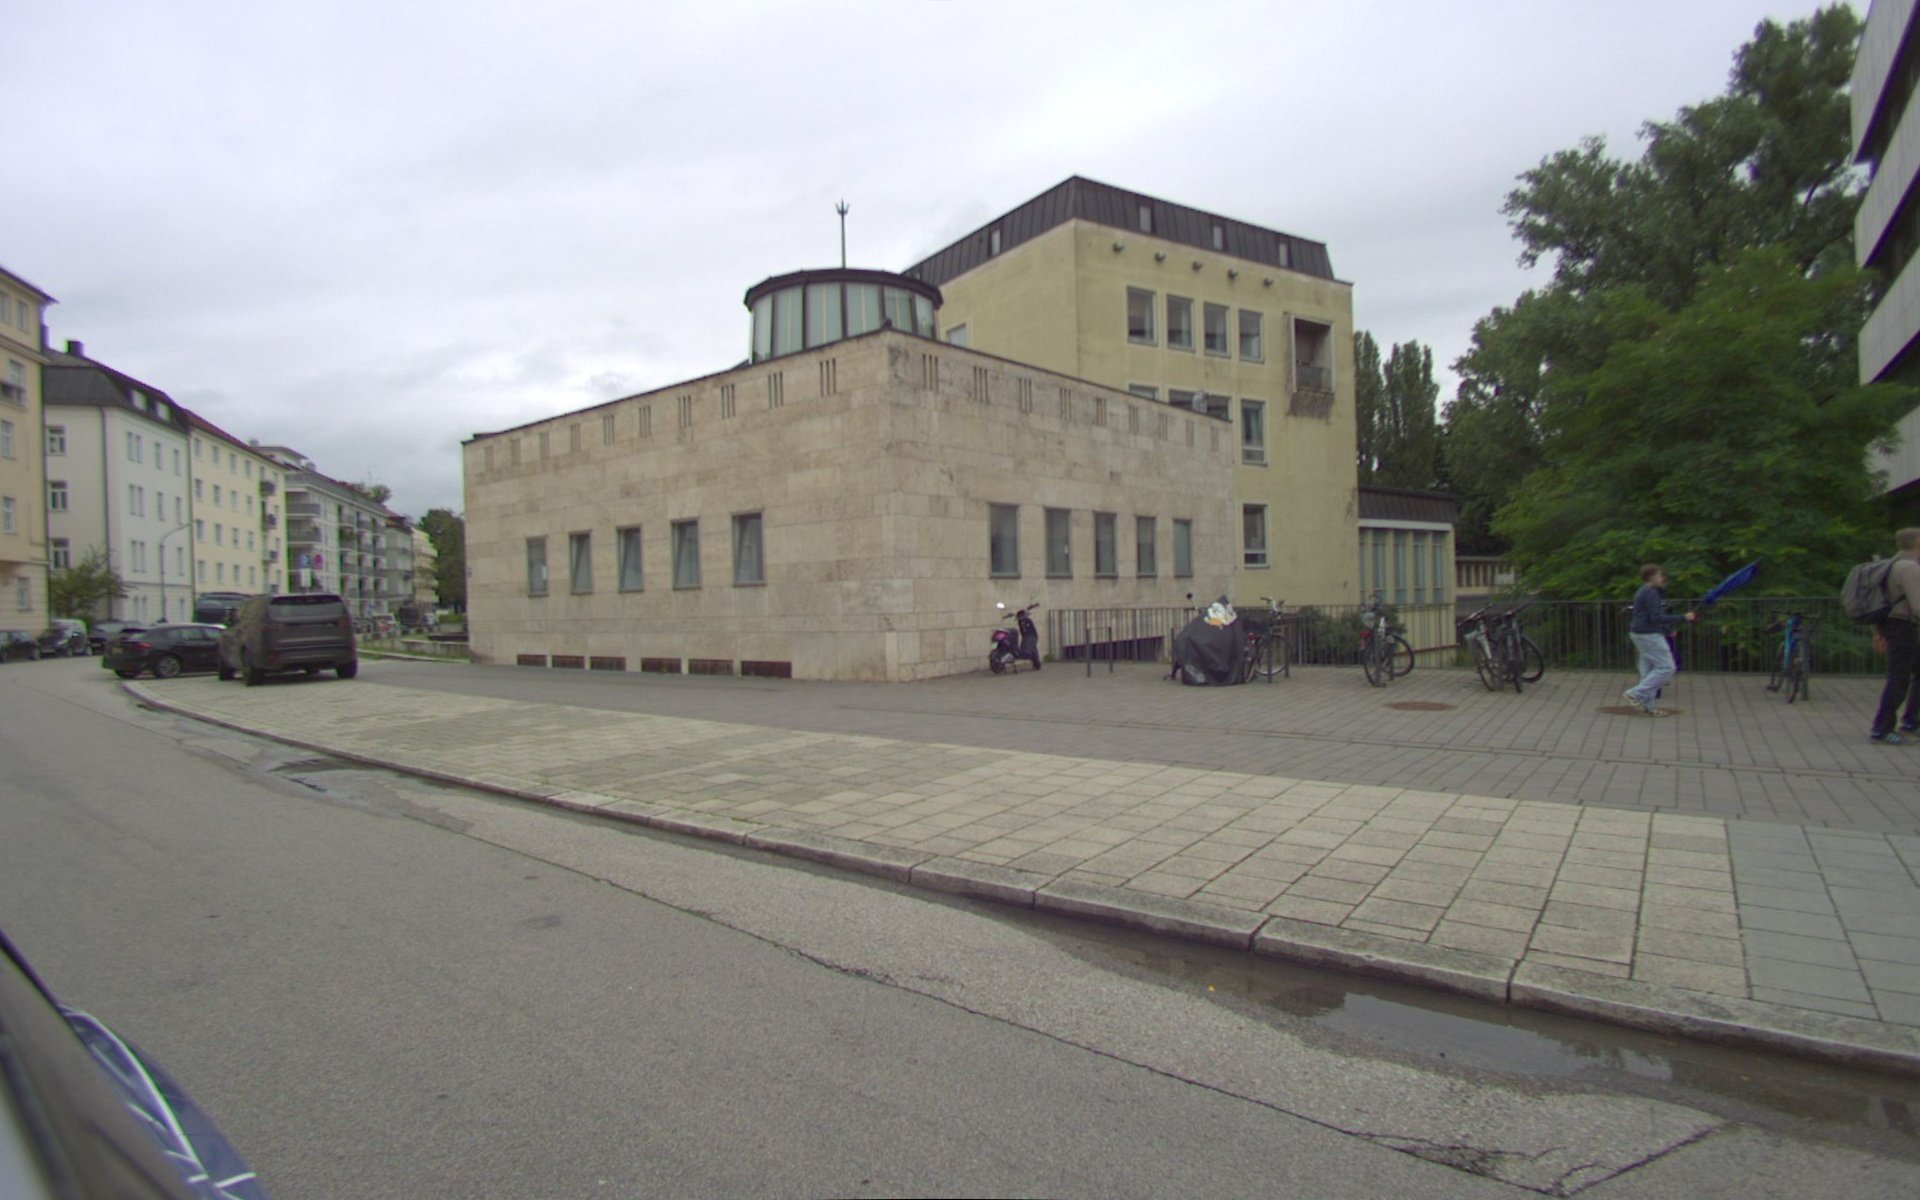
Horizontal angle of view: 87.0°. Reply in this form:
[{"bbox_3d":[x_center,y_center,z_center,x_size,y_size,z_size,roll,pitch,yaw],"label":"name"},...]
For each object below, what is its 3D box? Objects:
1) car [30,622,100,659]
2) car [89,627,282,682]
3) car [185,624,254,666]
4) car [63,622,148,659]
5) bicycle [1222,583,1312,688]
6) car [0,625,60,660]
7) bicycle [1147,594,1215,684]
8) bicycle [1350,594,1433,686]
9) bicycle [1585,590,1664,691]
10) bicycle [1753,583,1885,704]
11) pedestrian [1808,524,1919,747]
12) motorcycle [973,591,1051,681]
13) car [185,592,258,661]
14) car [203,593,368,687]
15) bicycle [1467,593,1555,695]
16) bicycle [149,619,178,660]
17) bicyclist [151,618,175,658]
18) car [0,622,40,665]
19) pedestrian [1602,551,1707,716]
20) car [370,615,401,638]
[{"bbox_3d":[-43.413,1.934,49.149,1.487,1.568,2.871,-4,1,-18],"label":"car"},{"bbox_3d":[-21.375,1.464,28.133,1.735,1.384,3.984,0,-1,17],"label":"car"},{"bbox_3d":[-26.365,1.591,35.997,1.803,1.398,4.150,3,-3,-38],"label":"car"},{"bbox_3d":[-45.585,2.147,54.100,1.901,1.743,4.702,-4,-1,-20],"label":"car"},{"bbox_3d":[4.567,0.488,14.962,0.612,1.362,2.080,-3,1,34],"label":"bicycle"},{"bbox_3d":[-53.319,2.377,56.043,4.839,1.785,1.892,-1,0,-21],"label":"car"},{"bbox_3d":[3.447,0.579,15.711,0.461,1.269,1.438,-3,1,34],"label":"bicycle"},{"bbox_3d":[6.134,0.538,14.323,0.615,1.119,2.028,-3,1,36],"label":"bicycle"},{"bbox_3d":[8.445,0.481,12.927,0.614,1.119,2.033,-3,1,28],"label":"bicycle"},{"bbox_3d":[9.175,0.423,10.887,0.614,1.119,2.033,-3,1,28],"label":"bicycle"},{"bbox_3d":[7.897,0.268,8.485,1.009,1.795,0.782,-1,2,25],"label":"pedestrian"},{"bbox_3d":[0.920,0.604,17.587,0.514,1.415,1.550,-3,1,37],"label":"motorcycle"},{"bbox_3d":[-30.139,1.061,41.451,2.115,2.594,6.228,0,-1,-33],"label":"car"},{"bbox_3d":[-14.742,0.852,21.996,4.816,1.785,1.971,-3,-1,44],"label":"car"},{"bbox_3d":[7.141,0.531,13.066,0.616,1.119,2.026,-3,1,39],"label":"bicycle"},{"bbox_3d":[-34.779,1.740,44.168,0.785,1.735,3.119,1,-3,-41],"label":"bicycle"},{"bbox_3d":[-35.299,1.698,44.809,0.739,1.730,1.033,-1,-2,-41],"label":"bicyclist"},{"bbox_3d":[-41.380,1.901,43.176,1.811,1.743,3.742,-4,1,-20],"label":"car"},{"bbox_3d":[7.090,0.329,10.358,0.600,1.613,0.642,-3,1,10],"label":"pedestrian"},{"bbox_3d":[-52.963,2.428,93.361,1.916,1.991,4.370,0,0,-23],"label":"car"}]
